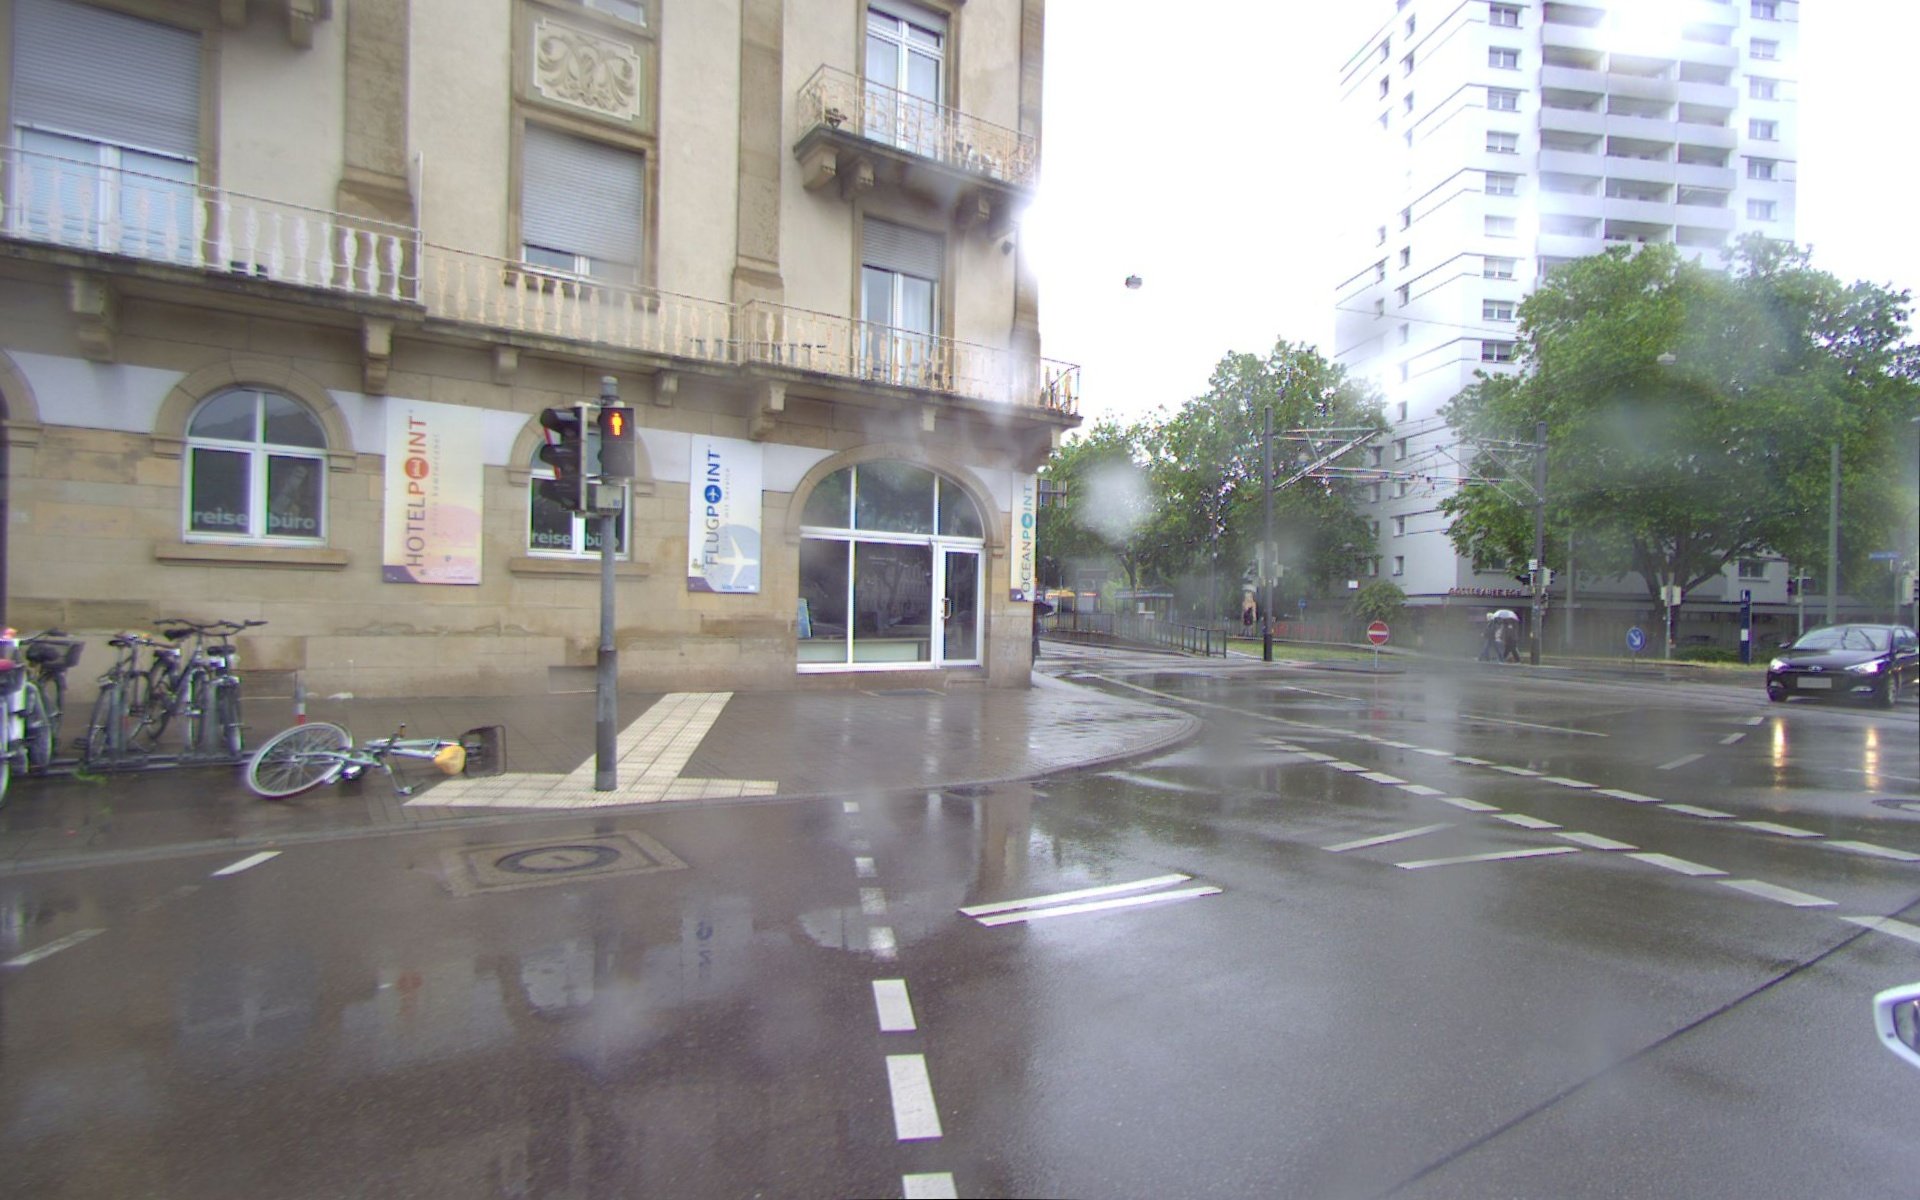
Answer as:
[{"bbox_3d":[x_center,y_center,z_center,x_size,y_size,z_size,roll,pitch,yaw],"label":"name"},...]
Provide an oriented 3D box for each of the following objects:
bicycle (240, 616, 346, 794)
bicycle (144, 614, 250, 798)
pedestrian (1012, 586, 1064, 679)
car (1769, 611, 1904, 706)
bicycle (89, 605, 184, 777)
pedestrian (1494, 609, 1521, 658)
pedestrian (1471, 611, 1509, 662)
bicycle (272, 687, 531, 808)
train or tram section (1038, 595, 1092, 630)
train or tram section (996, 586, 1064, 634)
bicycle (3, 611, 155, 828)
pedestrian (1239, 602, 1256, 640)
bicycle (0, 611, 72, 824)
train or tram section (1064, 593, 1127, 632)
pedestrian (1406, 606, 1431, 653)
[{"bbox_3d":[-5.995,0.838,8.968,0.634,1.364,2.323,1,-1,-37],"label":"bicycle"},{"bbox_3d":[-6.565,0.817,8.663,0.634,1.364,2.323,1,-1,-37],"label":"bicycle"},{"bbox_3d":[1.736,0.723,22.429,0.904,1.991,0.699,4,-1,-9],"label":"pedestrian"},{"bbox_3d":[16.132,1.031,18.644,1.722,1.567,3.762,0,-2,39],"label":"car"},{"bbox_3d":[-7.285,0.730,8.940,0.580,1.364,2.041,1,-1,-38],"label":"bicycle"},{"bbox_3d":[19.160,1.164,35.154,0.803,1.670,0.792,0,-2,32],"label":"pedestrian"},{"bbox_3d":[17.402,1.195,33.010,0.744,1.670,0.835,1,-1,-17],"label":"pedestrian"},{"bbox_3d":[-4.396,1.123,8.006,1.023,0.672,1.477,3,0,26],"label":"bicycle"},{"bbox_3d":[11.438,1.371,110.620,3.017,3.550,11.560,1,-1,-9],"label":"train or tram section"},{"bbox_3d":[5.516,0.865,81.709,3.017,3.550,11.560,1,-1,-9],"label":"train or tram section"},{"bbox_3d":[-6.260,0.758,7.224,0.433,1.347,1.966,1,-1,-30],"label":"bicycle"},{"bbox_3d":[16.117,1.190,56.317,0.626,2.105,0.700,1,0,-14],"label":"pedestrian"},{"bbox_3d":[-6.671,0.749,7.012,0.470,1.200,1.966,1,3,-35],"label":"bicycle"},{"bbox_3d":[13.208,1.250,99.198,3.017,3.550,11.560,1,-1,-9],"label":"train or tram section"},{"bbox_3d":[18.300,1.169,40.076,0.628,1.863,0.678,1,-1,-10],"label":"pedestrian"}]
